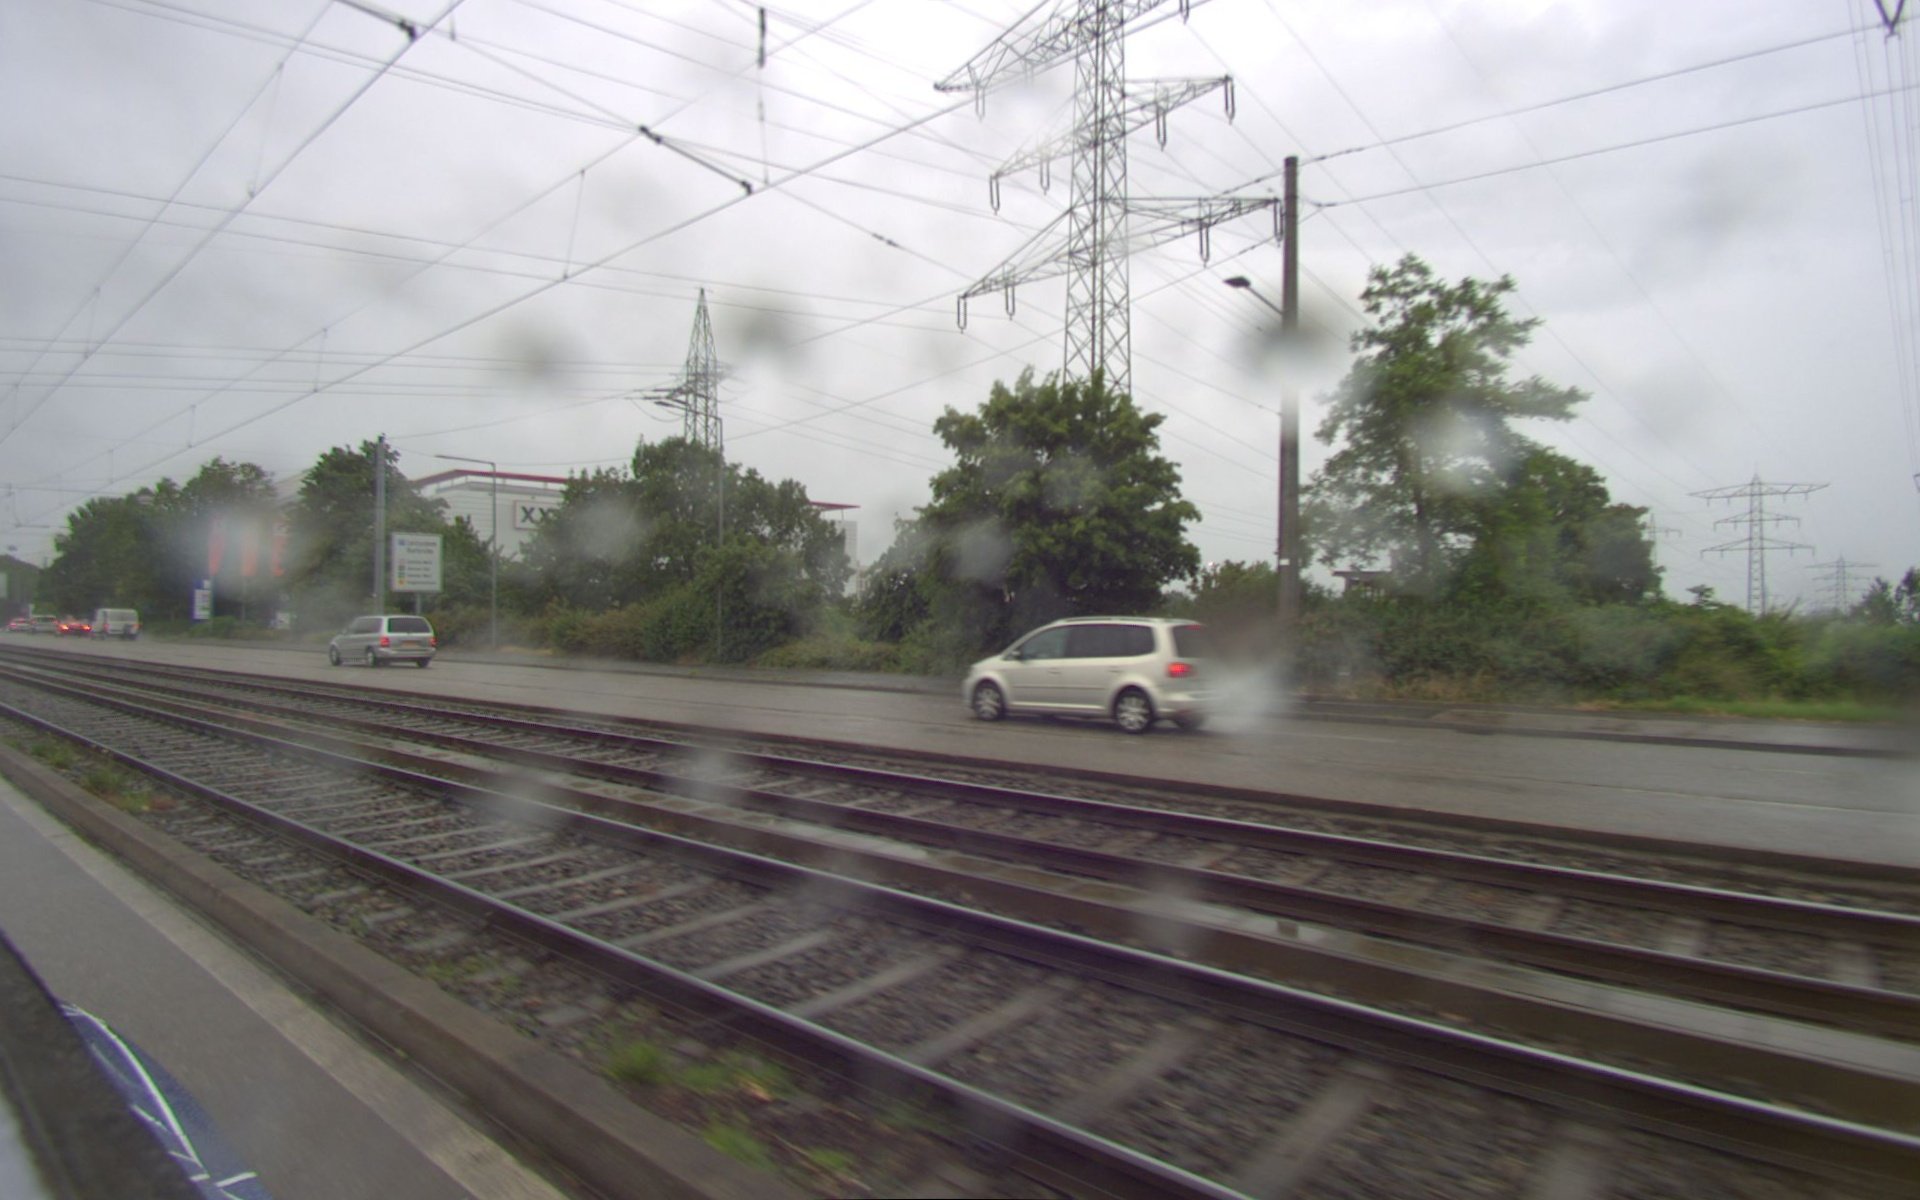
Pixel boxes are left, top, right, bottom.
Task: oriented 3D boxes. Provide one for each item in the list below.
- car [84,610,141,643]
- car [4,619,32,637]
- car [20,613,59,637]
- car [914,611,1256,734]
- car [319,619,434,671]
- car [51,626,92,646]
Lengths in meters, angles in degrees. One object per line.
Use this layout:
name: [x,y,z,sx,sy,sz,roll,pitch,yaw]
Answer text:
car: [-63.079,2.021,75.303,5.978,2.316,2.129,-2,-5,40]
car: [-105.639,3.119,113.500,3.997,1.929,1.844,-2,-1,40]
car: [-87.388,2.362,96.075,4.726,2.116,2.069,-2,-1,40]
car: [1.778,1.042,15.676,5.062,1.586,1.824,-2,-1,40]
car: [-20.224,1.533,34.997,5.132,1.647,1.806,-2,-1,40]
car: [-74.707,3.035,85.099,4.726,1.653,1.877,-2,-1,40]
